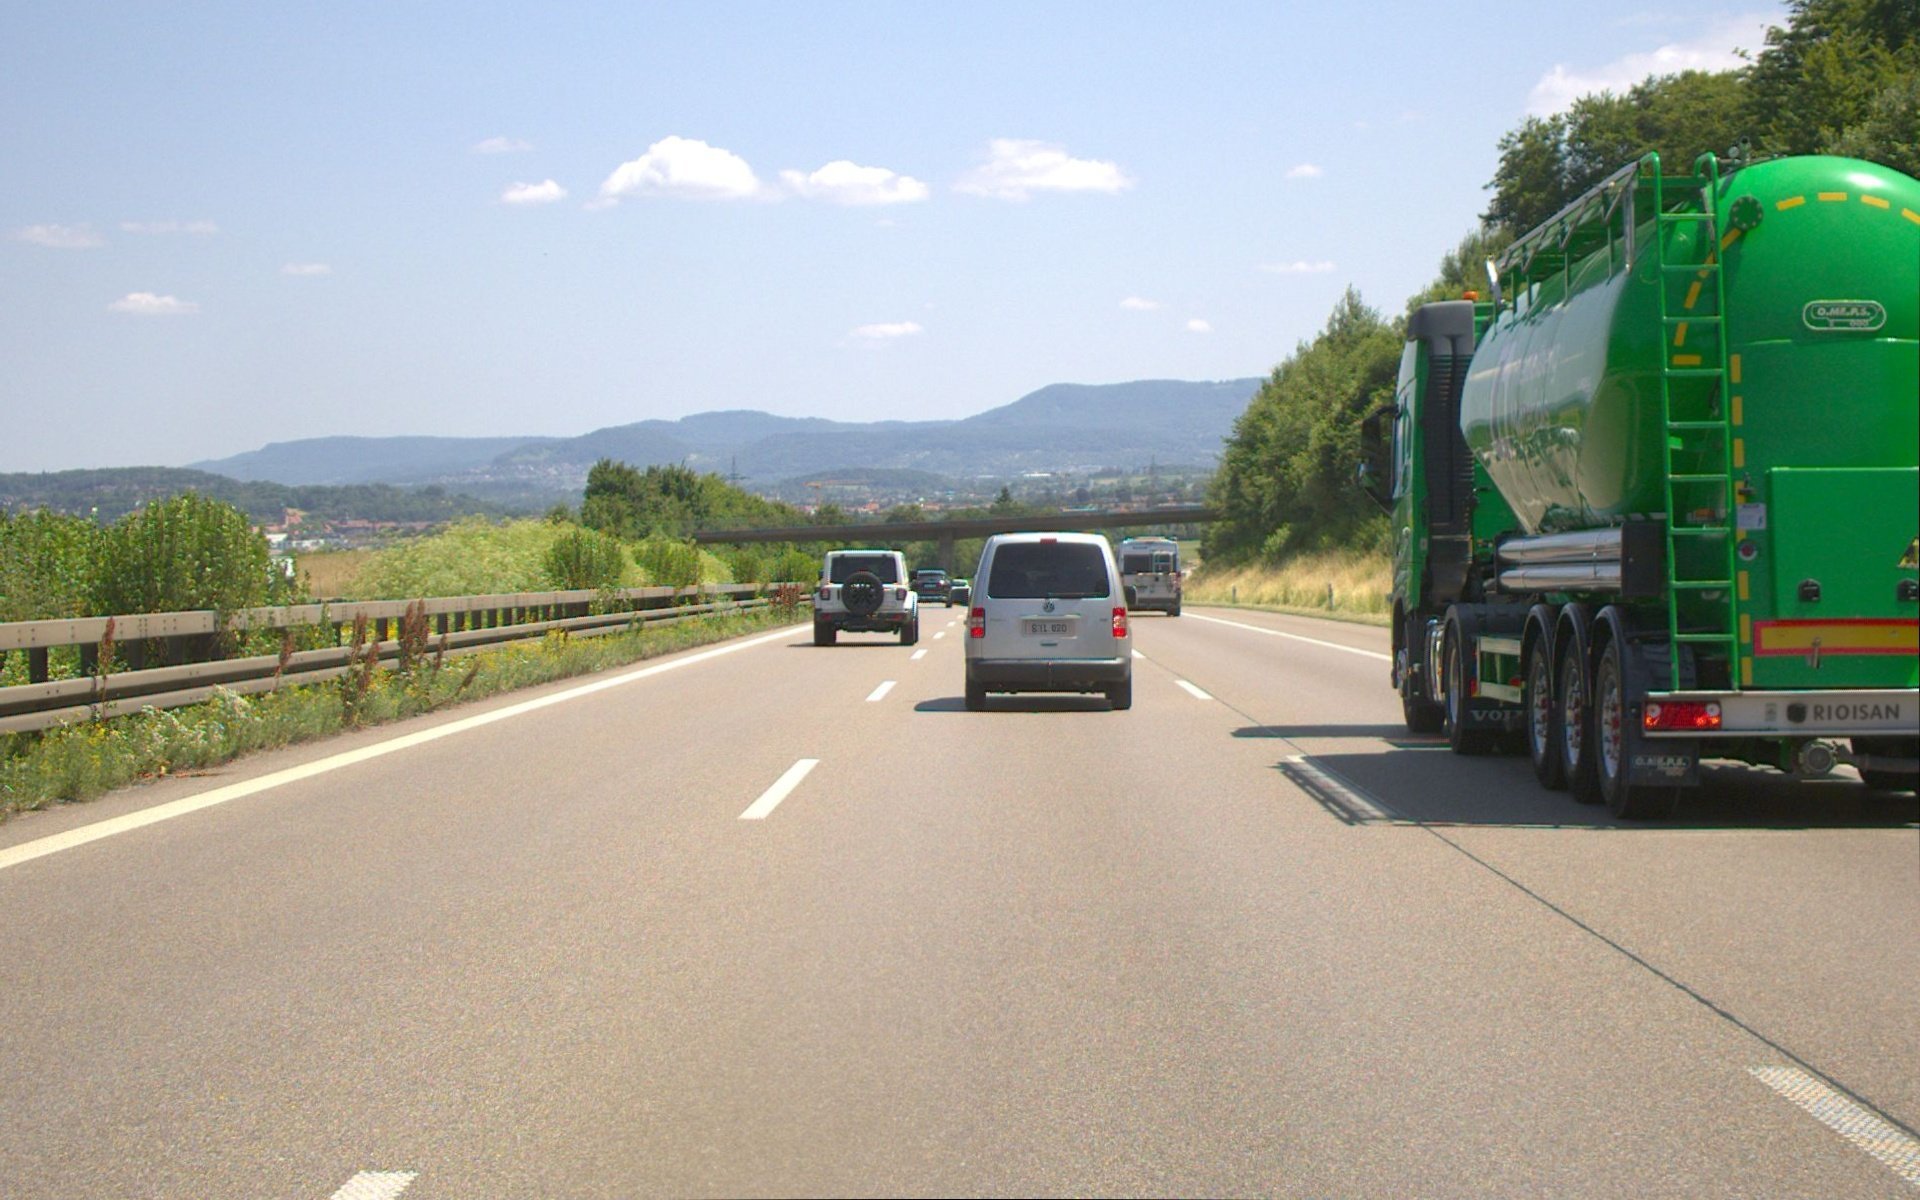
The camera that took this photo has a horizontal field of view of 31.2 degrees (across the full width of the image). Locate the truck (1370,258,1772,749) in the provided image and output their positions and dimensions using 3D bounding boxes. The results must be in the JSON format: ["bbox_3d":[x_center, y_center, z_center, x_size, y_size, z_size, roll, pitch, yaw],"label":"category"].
[{"bbox_3d":[5.064,-0.796,29.307,2.509,3.828,4.893,0,1,0],"label":"truck"}]

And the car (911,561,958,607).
[{"bbox_3d":[-1.133,-0.737,153.043,1.993,2.007,4.000,0,1,1],"label":"car"}]

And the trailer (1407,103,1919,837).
[{"bbox_3d":[5.027,-0.804,24.041,2.587,4.014,10.470,0,1,1],"label":"trailer"}]

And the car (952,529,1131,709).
[{"bbox_3d":[0.819,0.150,37.147,1.745,1.823,4.801,0,1,-1],"label":"car"}]

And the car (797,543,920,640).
[{"bbox_3d":[-1.948,-0.206,67.468,2.083,1.823,4.753,0,1,2],"label":"car"}]

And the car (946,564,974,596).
[{"bbox_3d":[0.017,-1.285,221.514,1.698,2.007,3.822,0,1,2],"label":"car"}]

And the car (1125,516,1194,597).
[{"bbox_3d":[6.500,-1.438,112.631,2.089,2.567,6.622,0,1,2],"label":"car"}]
